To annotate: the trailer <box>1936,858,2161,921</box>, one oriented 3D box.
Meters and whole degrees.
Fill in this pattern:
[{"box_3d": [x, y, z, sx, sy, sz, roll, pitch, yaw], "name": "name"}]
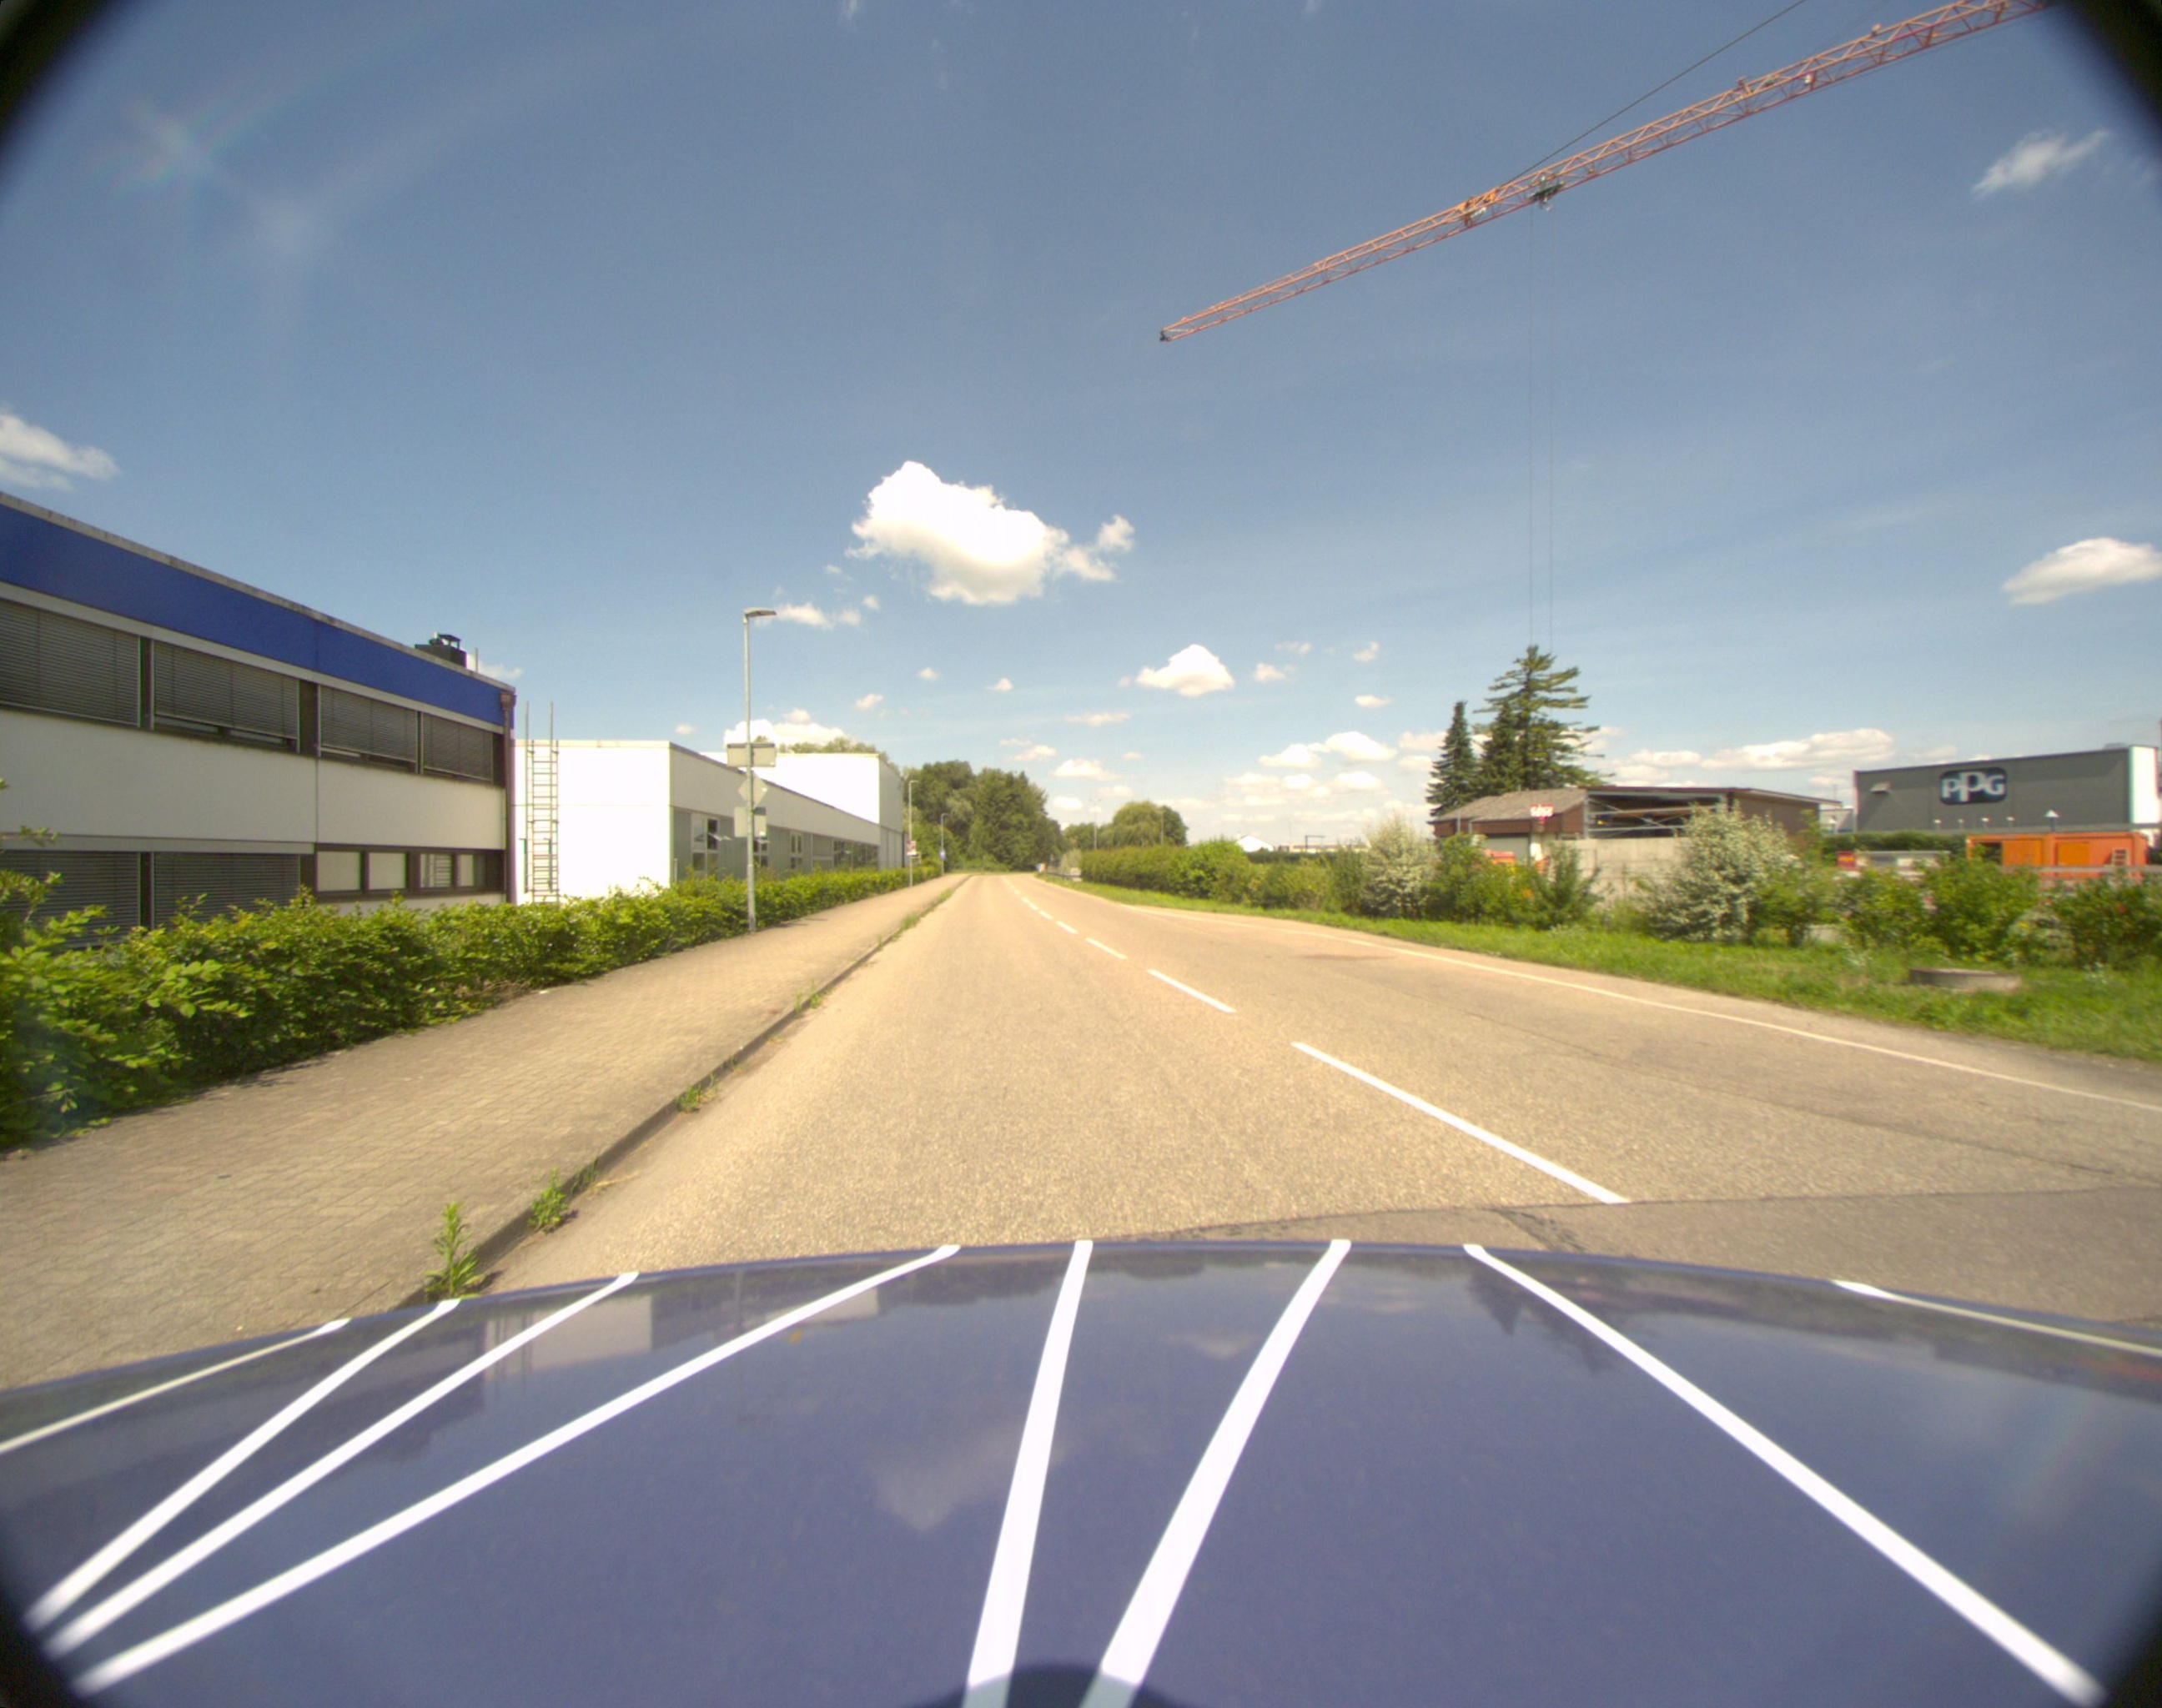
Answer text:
[{"box_3d": [31.582, 1.069, 24.318, 1.825, 1.769, 5.385, -3, 1, -35], "name": "trailer"}]
